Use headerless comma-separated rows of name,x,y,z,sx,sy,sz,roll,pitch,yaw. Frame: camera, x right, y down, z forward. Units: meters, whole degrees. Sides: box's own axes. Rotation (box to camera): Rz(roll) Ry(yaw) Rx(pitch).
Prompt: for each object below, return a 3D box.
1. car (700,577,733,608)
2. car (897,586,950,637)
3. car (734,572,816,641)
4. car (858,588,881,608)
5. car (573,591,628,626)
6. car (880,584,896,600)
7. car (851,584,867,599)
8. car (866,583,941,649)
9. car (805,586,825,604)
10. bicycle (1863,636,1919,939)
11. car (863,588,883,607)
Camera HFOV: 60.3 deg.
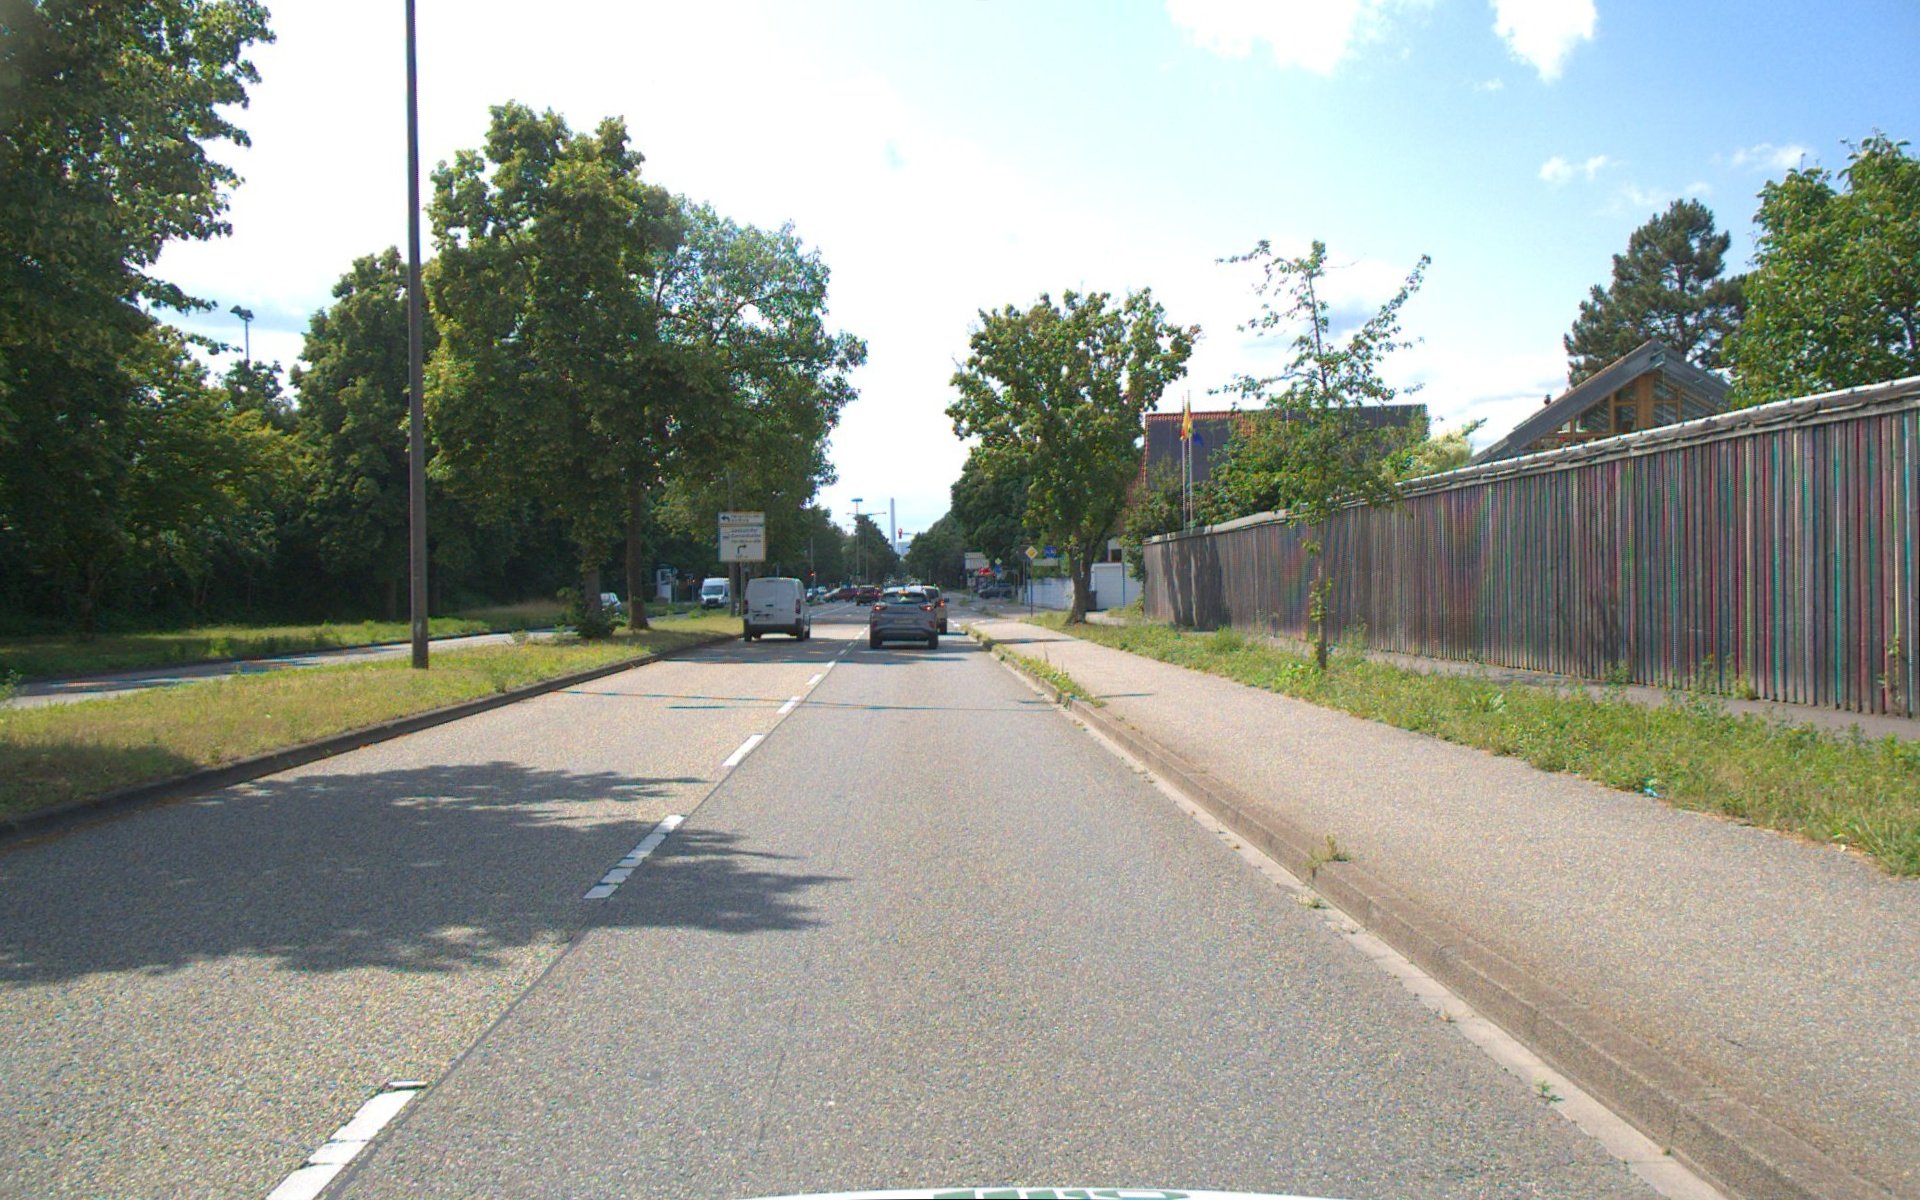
car,-19.799,-0.640,134.904,2.004,2.474,5.248,-1,0,-1
car,-1.274,0.368,57.794,1.743,1.672,4.195,-1,0,-2
car,-5.486,0.151,49.578,2.024,1.945,4.645,-1,1,-2
car,-8.146,-0.203,148.568,1.902,1.798,4.145,-1,0,-2
car,-18.370,0.420,84.732,1.953,1.735,4.192,-1,0,-2
car,-8.057,-0.871,185.686,1.743,1.798,3.999,-1,0,-2
car,-12.325,-1.055,201.849,1.743,1.798,4.149,-1,0,-2
car,-1.462,0.379,43.419,1.837,1.616,4.183,-1,0,-2
car,-14.633,-0.549,167.141,1.743,1.798,4.124,-1,0,-2
bicycle,3.800,0.682,5.165,0.633,1.086,2.278,-3,0,-1
car,-8.350,-0.248,159.244,1.743,1.798,4.167,-1,0,-2
